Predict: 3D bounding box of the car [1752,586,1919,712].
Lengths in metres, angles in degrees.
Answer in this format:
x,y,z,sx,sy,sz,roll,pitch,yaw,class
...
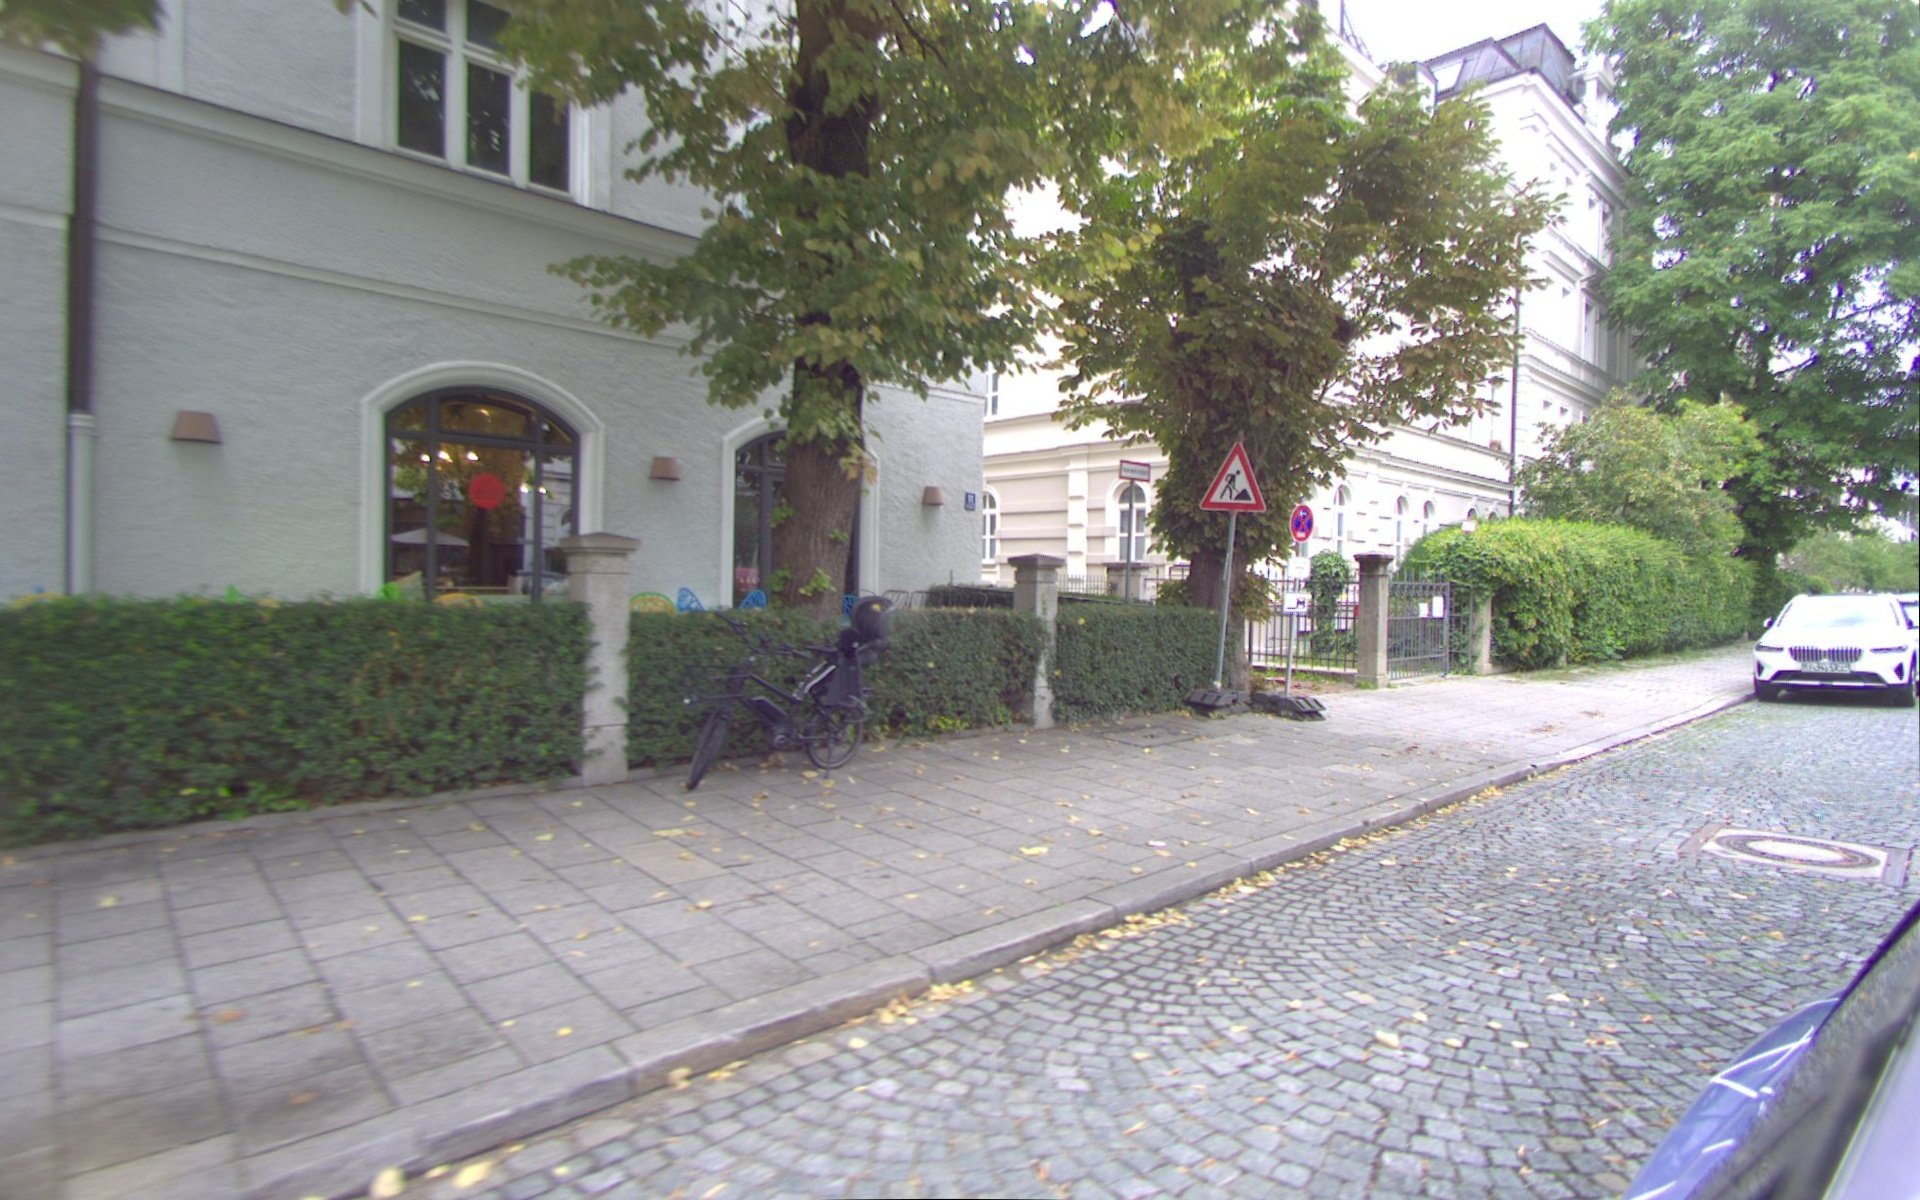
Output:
x,y,z,sx,sy,sz,roll,pitch,yaw,class
14.390,0.645,16.235,4.555,1.706,1.923,-1,2,-43,car

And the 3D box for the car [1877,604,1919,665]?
x,y,z,sx,sy,sz,roll,pitch,yaw,class
23.207,0.787,23.942,4.729,1.314,1.921,0,1,-44,car

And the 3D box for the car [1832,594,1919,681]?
x,y,z,sx,sy,sz,roll,pitch,yaw,class
19.343,0.695,20.810,4.398,1.620,1.749,0,1,-44,car

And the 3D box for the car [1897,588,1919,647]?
x,y,z,sx,sy,sz,roll,pitch,yaw,class
31.930,0.505,32.924,4.730,1.843,1.814,0,-2,-44,car

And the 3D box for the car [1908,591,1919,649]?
x,y,z,sx,sy,sz,roll,pitch,yaw,class
35.649,0.696,36.385,3.932,2.039,1.996,0,1,-43,car

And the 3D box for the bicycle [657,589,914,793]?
x,y,z,sx,sy,sz,roll,pitch,yaw,class
-1.138,0.550,6.873,1.701,1.212,0.428,0,6,-43,bicycle
